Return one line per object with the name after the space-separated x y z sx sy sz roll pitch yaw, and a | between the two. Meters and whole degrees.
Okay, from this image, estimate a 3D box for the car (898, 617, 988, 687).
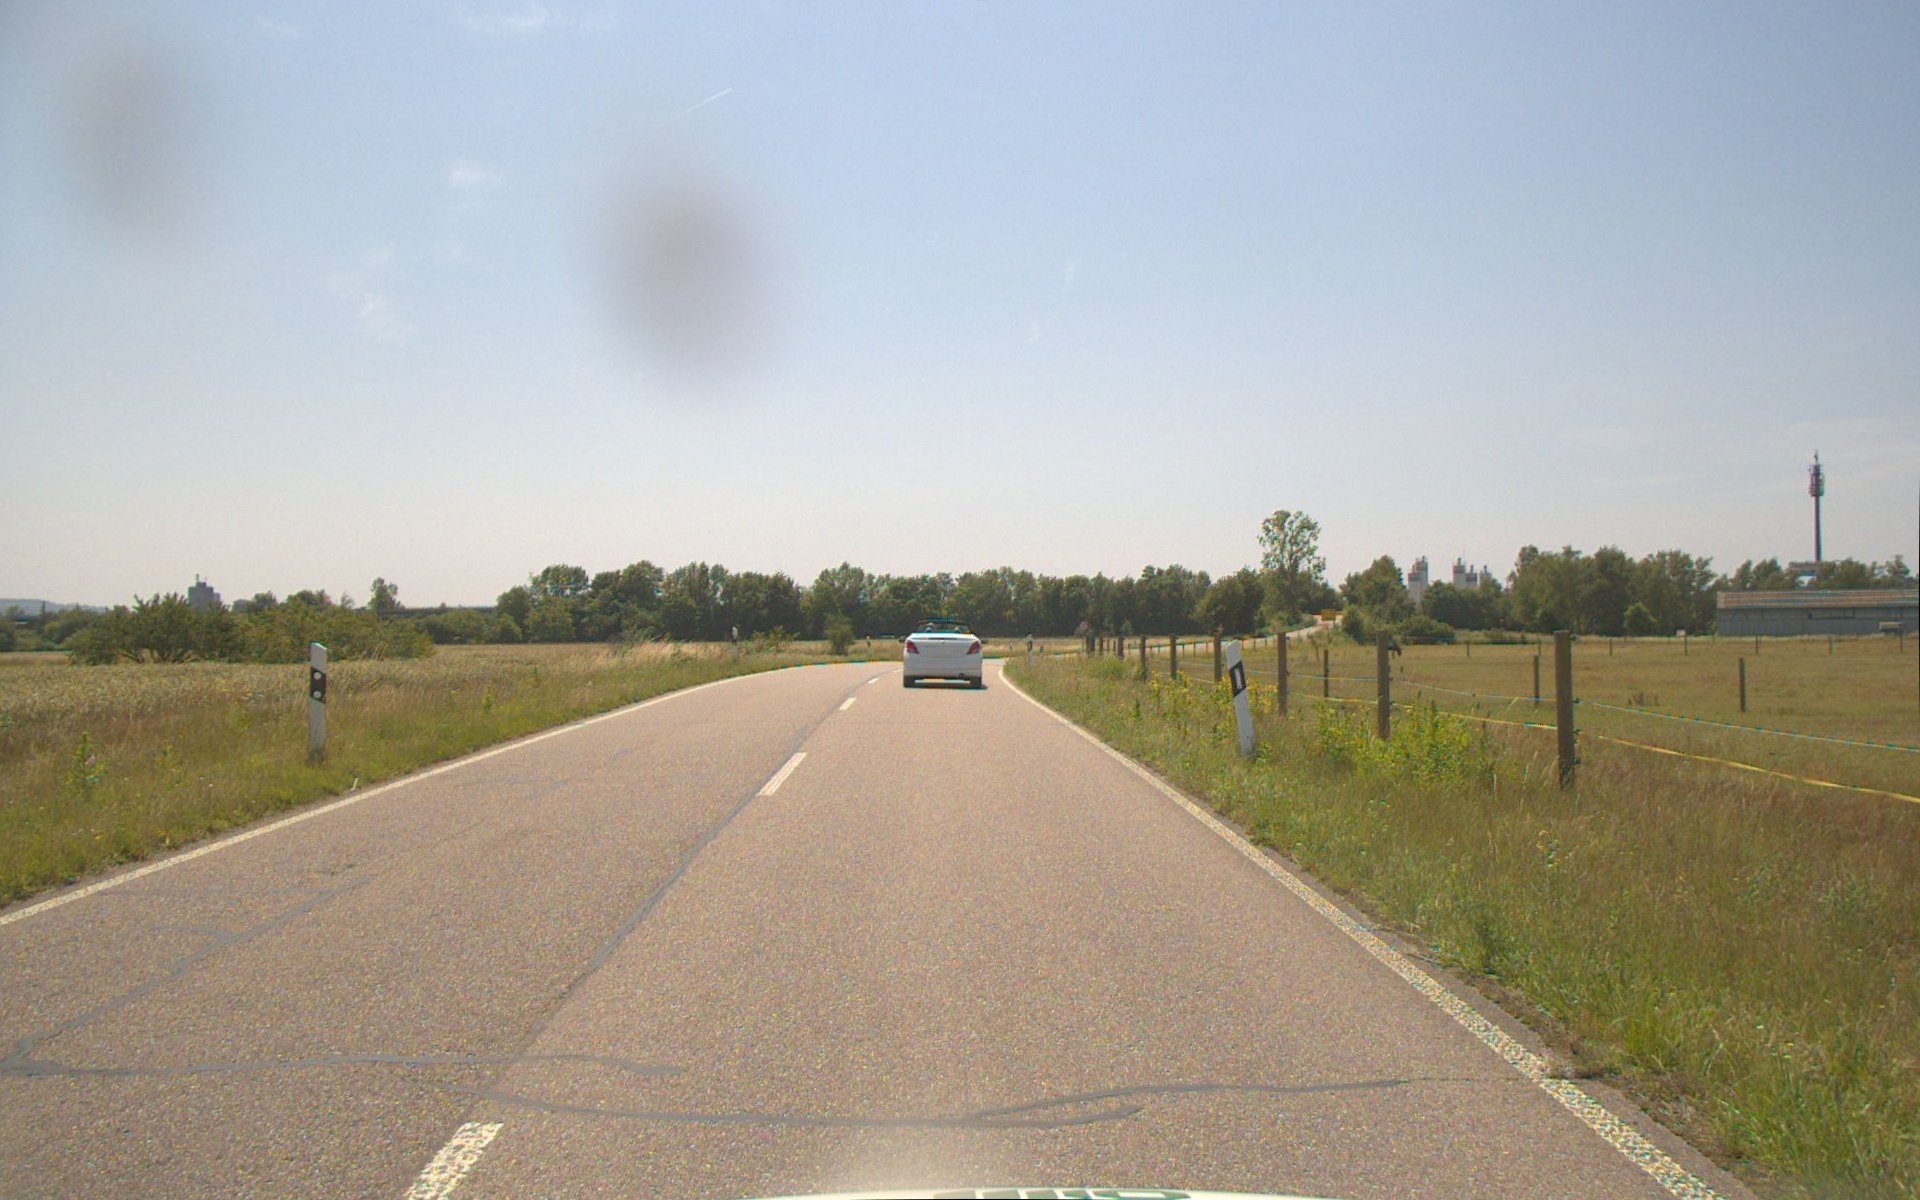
-0.359 1.090 35.785 1.813 1.403 3.999 1 -1 -1 | car
